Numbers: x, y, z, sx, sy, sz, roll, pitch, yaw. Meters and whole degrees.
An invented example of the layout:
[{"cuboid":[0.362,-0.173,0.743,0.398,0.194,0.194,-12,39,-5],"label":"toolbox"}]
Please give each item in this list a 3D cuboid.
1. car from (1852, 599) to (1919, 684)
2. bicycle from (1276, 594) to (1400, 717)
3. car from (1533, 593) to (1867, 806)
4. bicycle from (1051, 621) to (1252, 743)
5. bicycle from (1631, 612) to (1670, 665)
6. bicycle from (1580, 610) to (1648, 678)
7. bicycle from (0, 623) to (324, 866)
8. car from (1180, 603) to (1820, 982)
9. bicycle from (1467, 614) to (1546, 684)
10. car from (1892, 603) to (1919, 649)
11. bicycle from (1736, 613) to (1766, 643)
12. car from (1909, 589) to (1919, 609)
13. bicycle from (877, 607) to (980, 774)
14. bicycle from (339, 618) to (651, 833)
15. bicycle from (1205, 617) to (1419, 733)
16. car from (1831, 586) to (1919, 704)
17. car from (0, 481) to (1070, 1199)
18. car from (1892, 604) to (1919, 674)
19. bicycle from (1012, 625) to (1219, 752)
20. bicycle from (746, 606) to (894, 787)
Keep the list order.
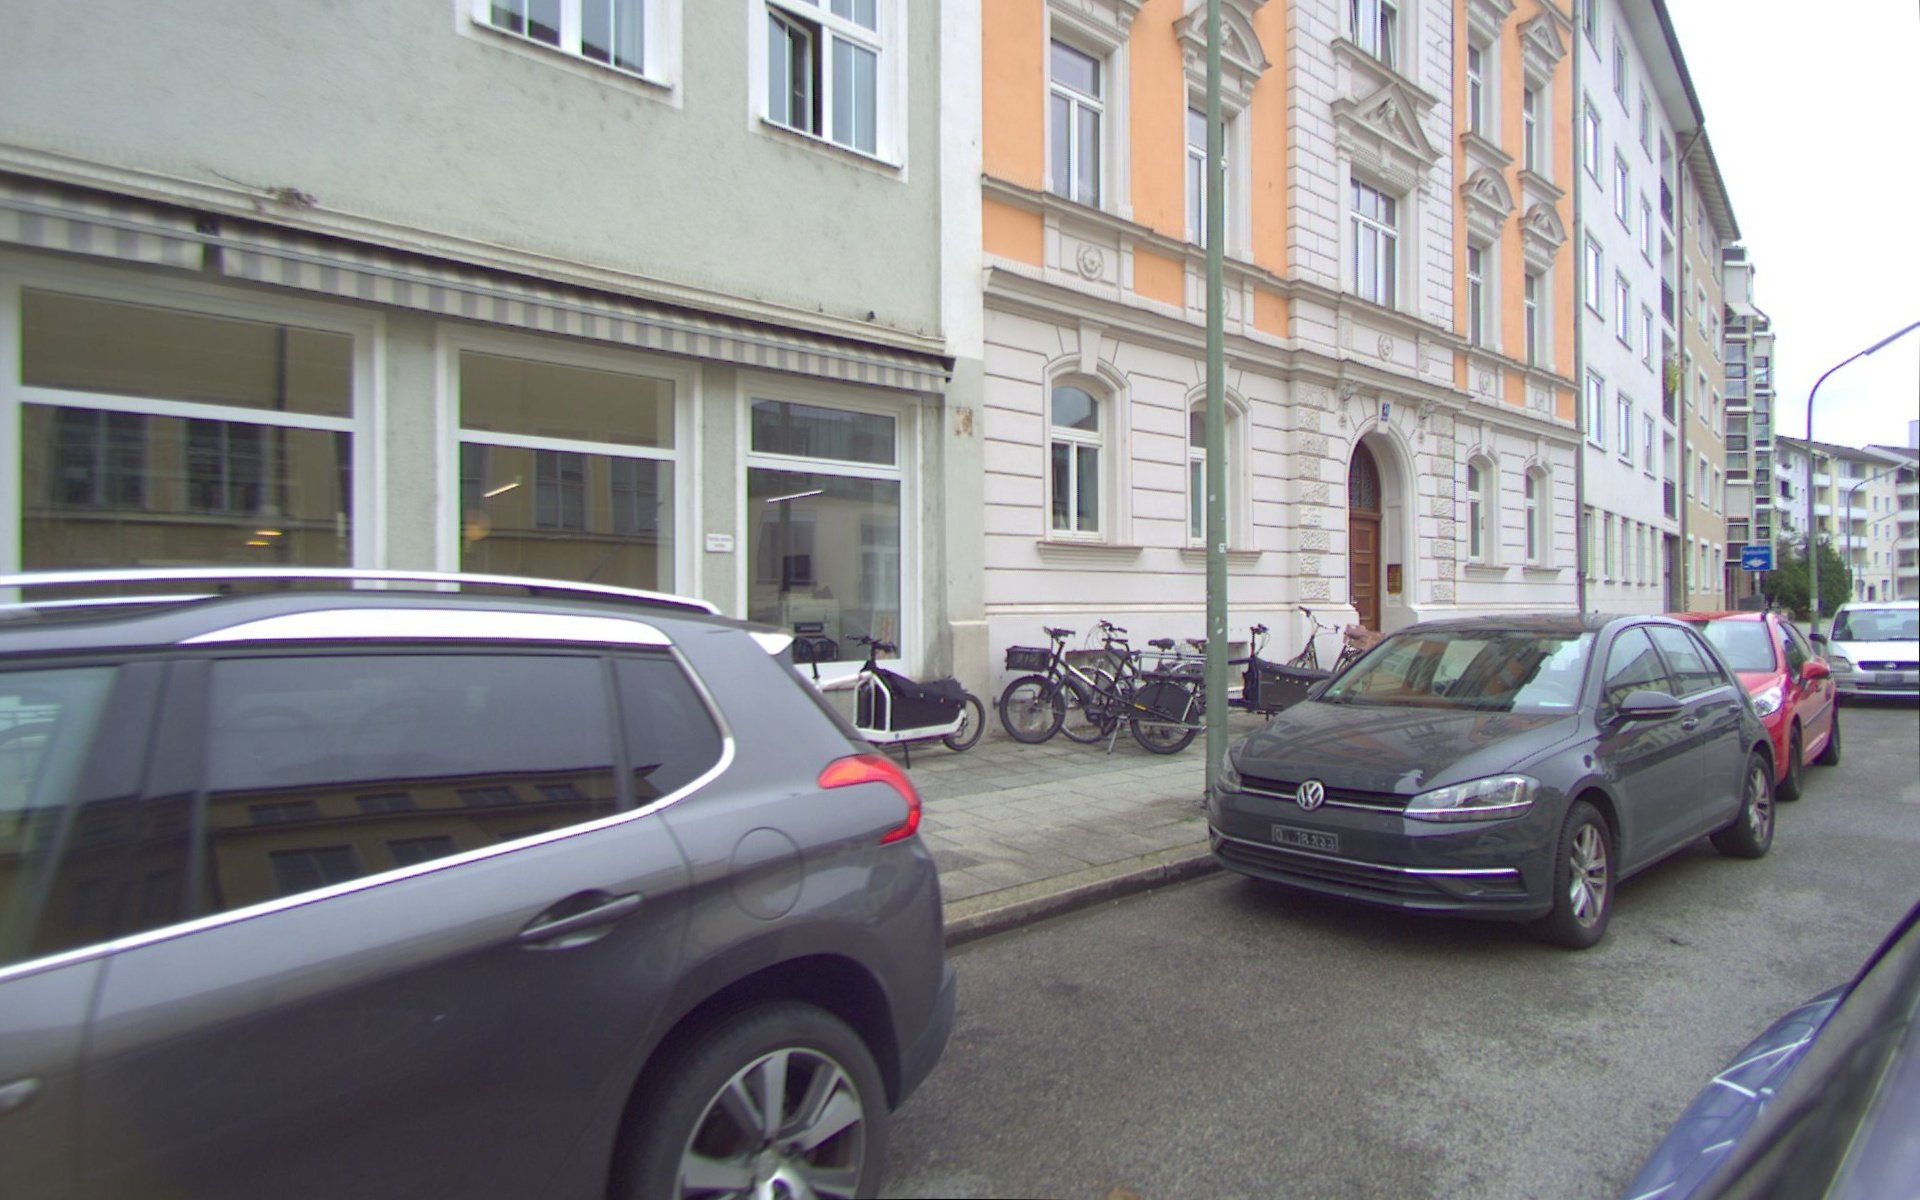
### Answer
[{"cuboid":[18.830,0.730,19.556,4.467,1.513,1.745,0,-1,-40],"label":"car"},{"cuboid":[4.711,0.634,12.521,2.057,1.402,0.596,0,0,-44],"label":"bicycle"},{"cuboid":[6.890,0.741,9.257,4.077,1.520,1.688,0,-2,-43],"label":"car"},{"cuboid":[1.804,0.761,9.652,1.778,1.103,0.622,0,0,-5],"label":"bicycle"},{"cuboid":[15.116,0.821,22.138,0.528,1.085,1.972,-1,-1,40],"label":"bicycle"},{"cuboid":[11.630,0.741,17.967,0.722,1.126,1.965,-1,-1,42],"label":"bicycle"},{"cuboid":[-4.558,0.726,5.417,1.915,1.172,0.385,0,0,-41],"label":"bicycle"},{"cuboid":[3.311,0.745,5.812,4.284,1.420,1.691,1,-1,-39],"label":"car"},{"cuboid":[8.827,0.764,16.308,1.787,1.037,0.596,0,0,-44],"label":"bicycle"},{"cuboid":[31.855,0.825,33.140,1.853,1.432,4.938,-1,-1,42],"label":"car"},{"cuboid":[28.657,0.995,36.645,0.676,1.046,1.725,0,0,44],"label":"bicycle"},{"cuboid":[81.654,-0.079,85.201,3.928,1.616,1.998,0,0,-39],"label":"car"},{"cuboid":[-0.245,0.694,8.150,0.248,1.271,0.901,0,0,45],"label":"bicycle"},{"cuboid":[-2.927,0.729,6.517,1.783,1.191,0.396,-1,-1,-41],"label":"bicycle"},{"cuboid":[3.691,0.769,10.742,2.056,1.153,0.583,0,0,7],"label":"bicycle"},{"cuboid":[15.000,0.647,16.033,1.680,1.695,3.746,-3,-2,42],"label":"car"},{"cuboid":[-1.863,0.679,1.800,4.288,1.613,1.707,0,-2,-43],"label":"car"},{"cuboid":[22.233,0.819,22.820,1.704,1.473,4.333,-4,-3,43],"label":"car"},{"cuboid":[1.398,0.781,9.222,1.817,1.081,0.514,0,0,9],"label":"bicycle"},{"cuboid":[-1.046,0.689,7.719,0.248,1.271,1.214,0,0,45],"label":"bicycle"}]
